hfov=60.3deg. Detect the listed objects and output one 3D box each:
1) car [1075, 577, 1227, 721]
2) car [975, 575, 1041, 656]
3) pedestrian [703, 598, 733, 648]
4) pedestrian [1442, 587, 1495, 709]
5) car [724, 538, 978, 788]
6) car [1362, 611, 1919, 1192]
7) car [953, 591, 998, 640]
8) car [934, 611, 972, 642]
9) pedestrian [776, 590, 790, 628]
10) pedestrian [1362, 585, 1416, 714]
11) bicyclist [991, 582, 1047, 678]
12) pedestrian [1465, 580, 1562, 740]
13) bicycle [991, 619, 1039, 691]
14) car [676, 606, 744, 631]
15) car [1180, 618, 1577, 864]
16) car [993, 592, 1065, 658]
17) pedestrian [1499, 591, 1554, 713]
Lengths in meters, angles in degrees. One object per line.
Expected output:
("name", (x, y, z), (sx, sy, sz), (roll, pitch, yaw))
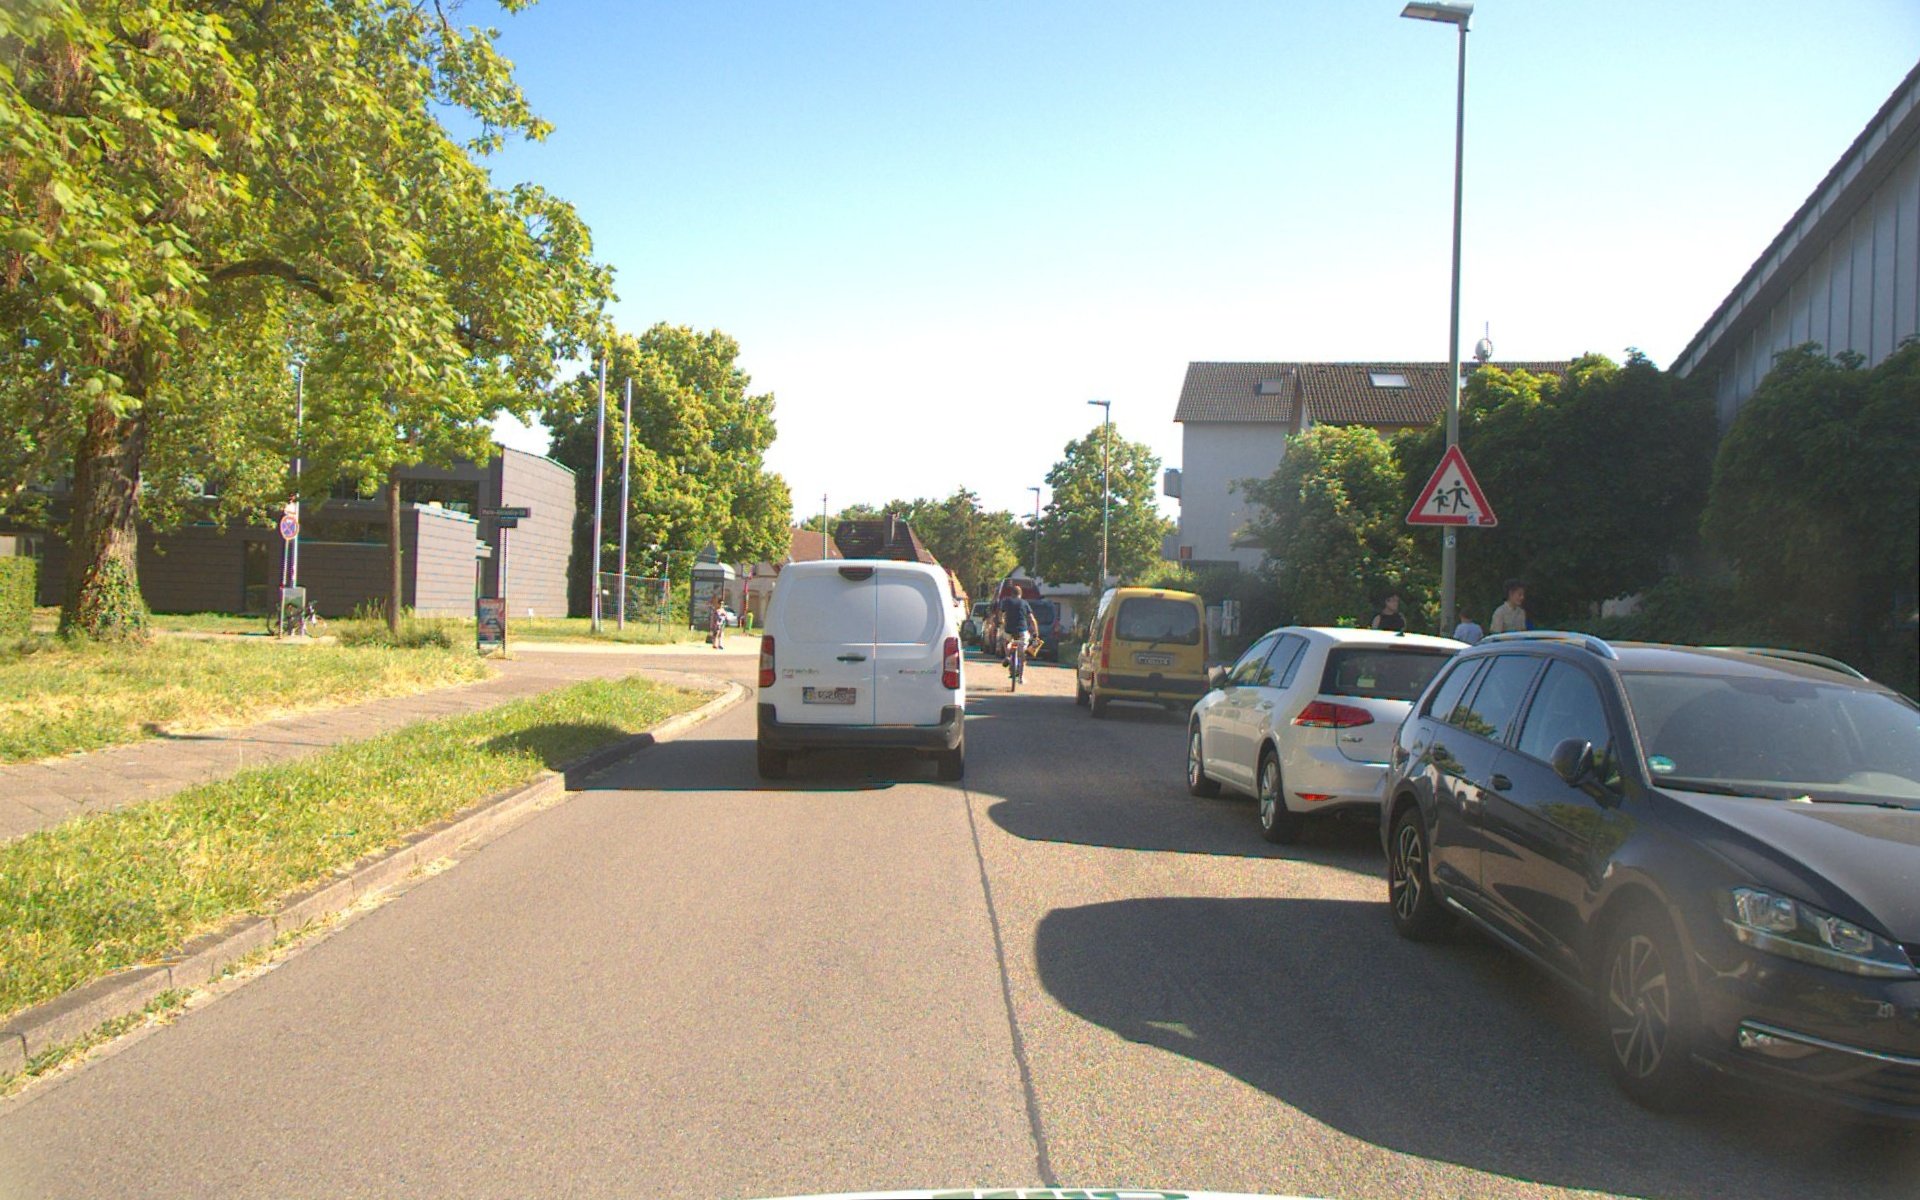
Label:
("car", (2.709, 0.676, 24.233), (1.689, 1.869, 3.999), (2, 0, 0))
("car", (1.631, 0.565, 58.036), (1.829, 2.607, 4.765), (4, -1, -2))
("pedestrian", (-7.414, 0.715, 50.736), (0.500, 1.470, 0.637), (4, -1, 32))
("pedestrian", (7.123, 0.666, 23.193), (0.555, 1.665, 0.547), (2, 0, 4))
("car", (-0.853, 0.500, 15.277), (1.953, 1.914, 4.289), (2, 0, 0))
("car", (3.052, 0.831, 6.522), (1.771, 1.468, 4.362), (2, 0, -1))
("car", (0.680, 0.739, 77.032), (1.768, 2.105, 3.998), (4, -1, -3))
("car", (-0.455, 1.811, 112.229), (1.766, 1.874, 4.003), (4, -1, 11))
("pedestrian", (-8.770, 0.446, 81.815), (0.608, 1.836, 0.640), (2, -2, -3))
("pedestrian", (5.660, 0.648, 21.817), (0.555, 1.665, 0.547), (2, 0, 4))
("bicyclist", (1.021, 0.519, 28.799), (0.887, 1.612, 0.966), (2, -1, 0))
("pedestrian", (6.805, 0.724, 20.362), (0.779, 1.894, 0.873), (2, 0, -9))
("bicycle", (0.959, 0.933, 28.770), (0.770, 1.158, 2.280), (2, 0, 2))
("car", (-16.053, 1.183, 106.250), (3.893, 1.454, 1.716), (2, -1, 17))
("car", (2.927, 0.917, 12.478), (1.790, 1.477, 3.998), (2, 0, -3))
("car", (2.082, 0.770, 50.878), (1.768, 1.816, 3.998), (4, -1, -3))
("pedestrian", (7.907, 0.720, 23.102), (0.555, 1.665, 0.547), (2, 0, 4))
